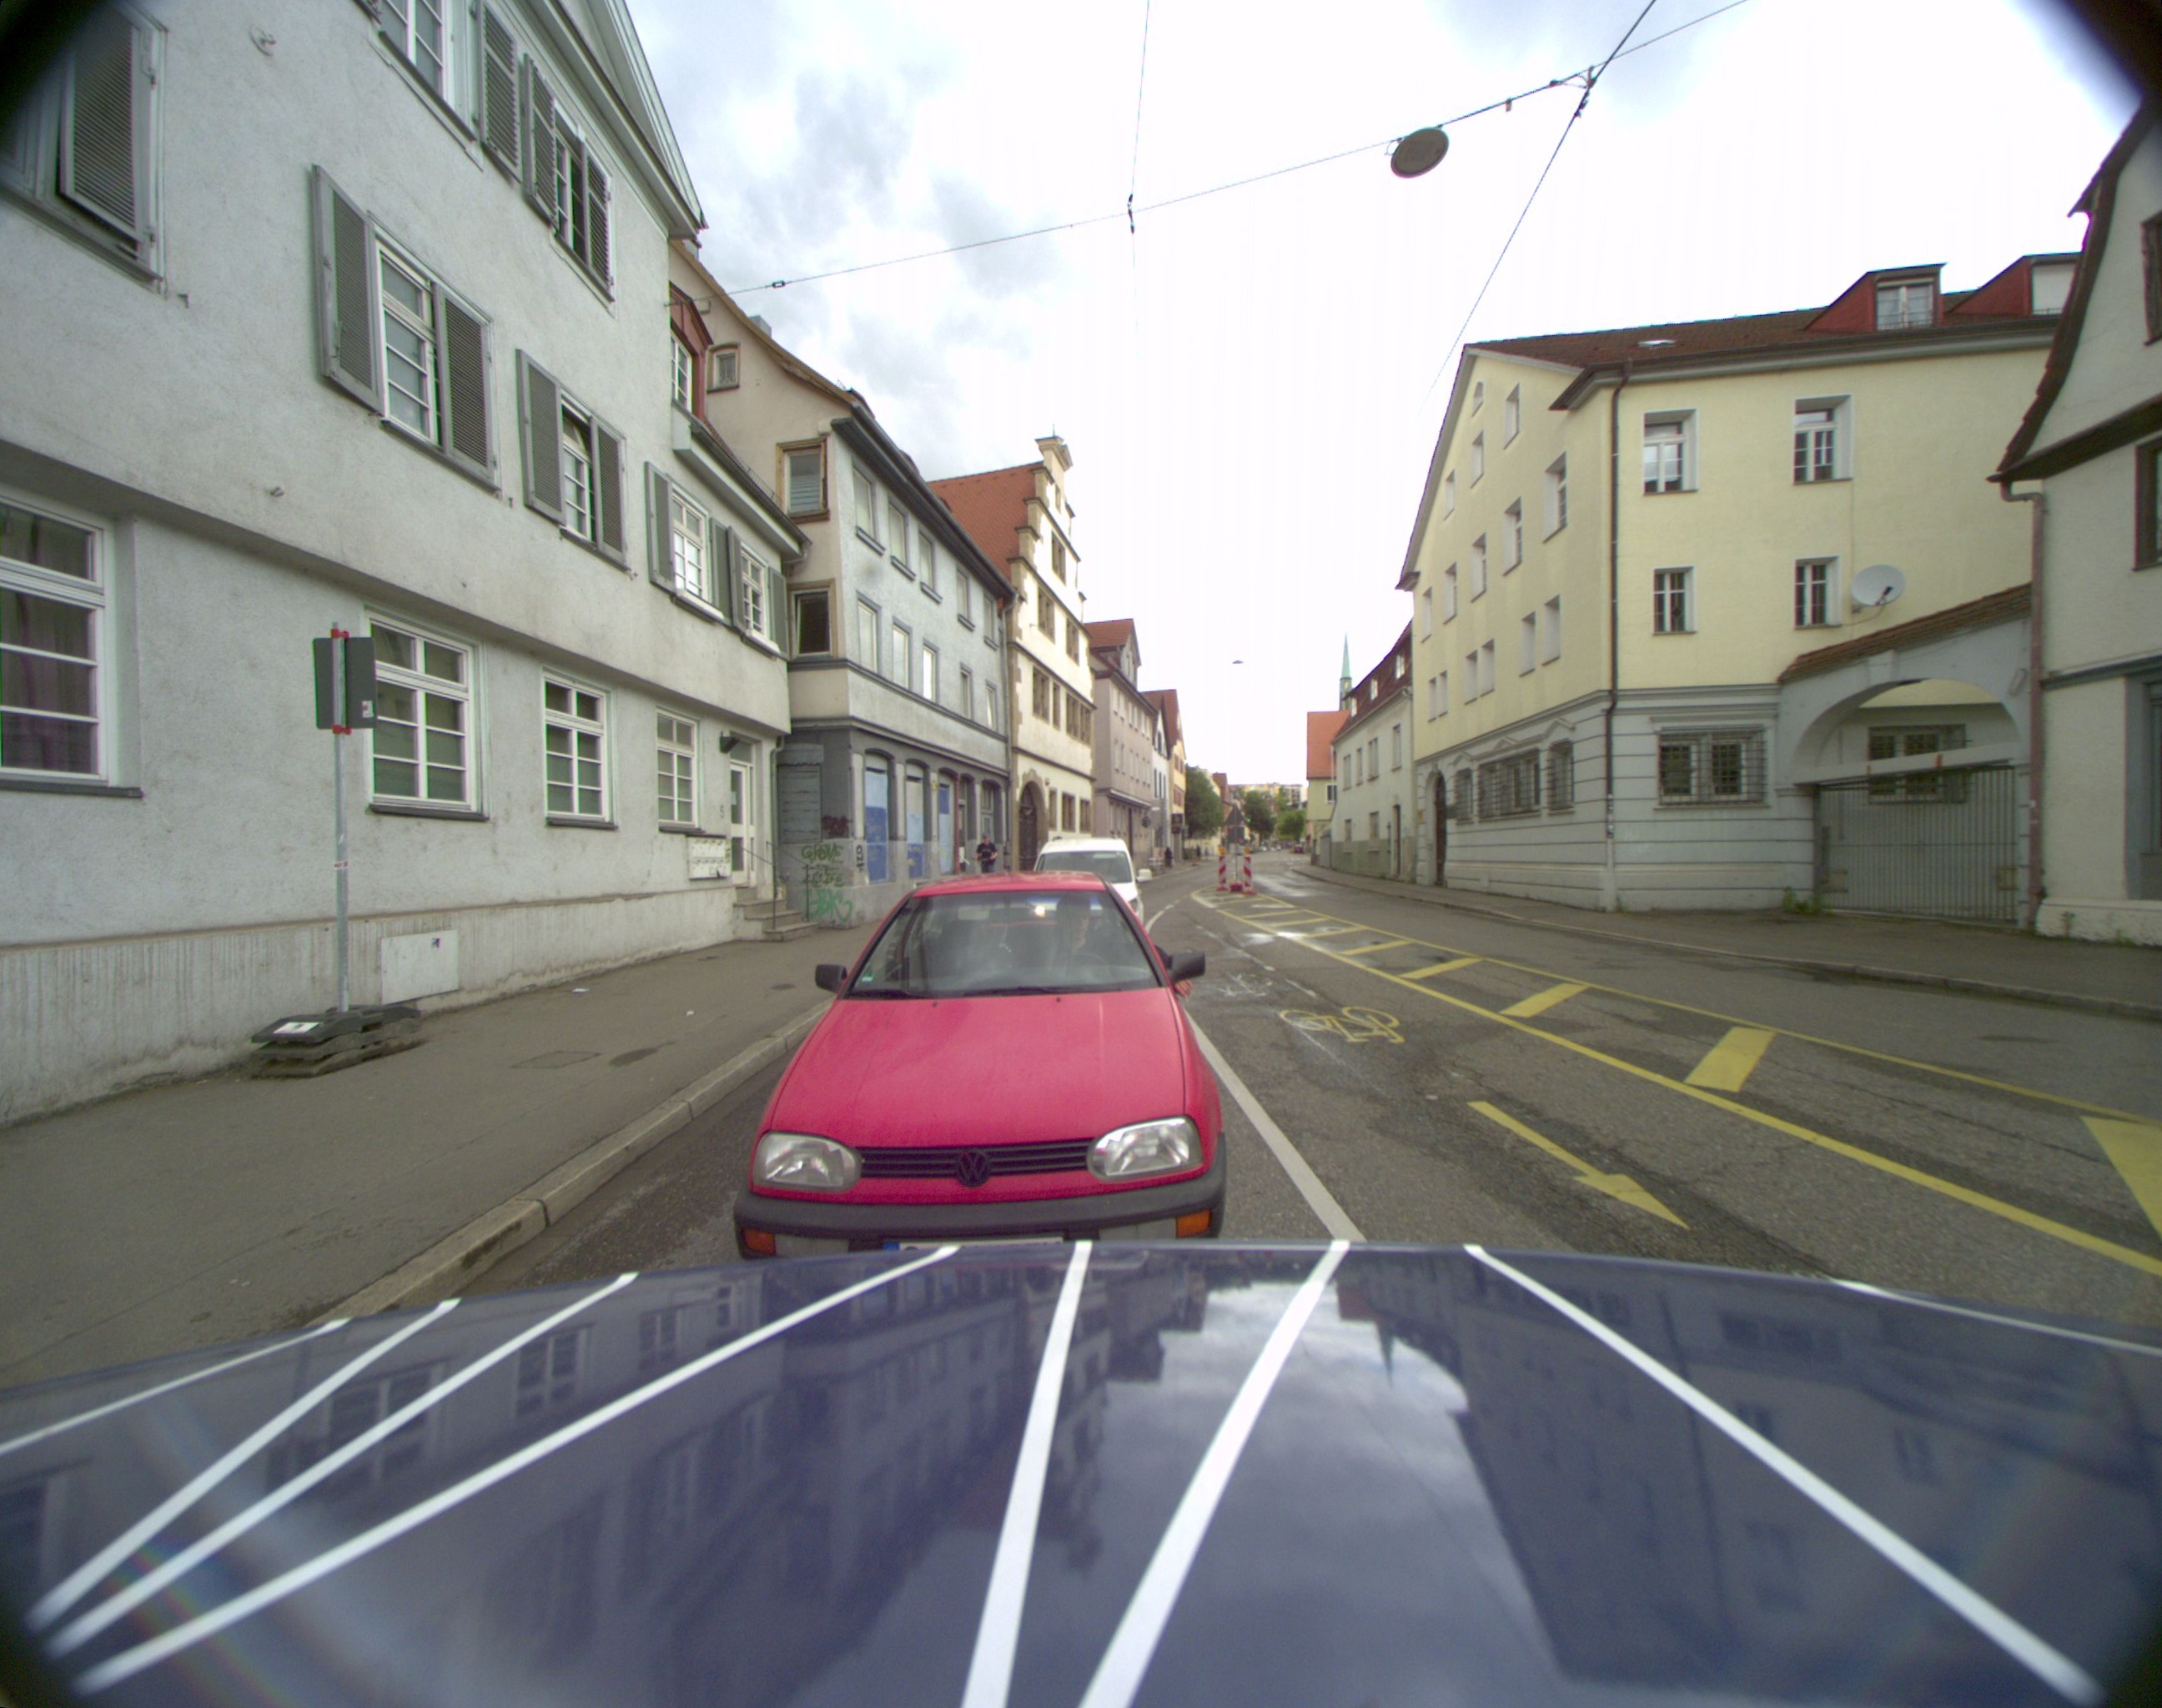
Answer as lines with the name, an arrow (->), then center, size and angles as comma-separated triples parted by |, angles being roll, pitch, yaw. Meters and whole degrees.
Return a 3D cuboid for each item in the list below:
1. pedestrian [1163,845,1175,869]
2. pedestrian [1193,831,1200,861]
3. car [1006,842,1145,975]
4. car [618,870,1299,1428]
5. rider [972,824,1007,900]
pedestrian -> 6.015, 0.185, 52.161 | 0.725, 1.604, 0.649 | -1, 0, 13
pedestrian -> 9.656, -0.637, 63.708 | 0.495, 2.513, 0.746 | -1, 1, 12
car -> 0.019, 0.694, 12.164 | 1.814, 1.695, 4.256 | -1, 1, 2
car -> -0.296, 0.836, 4.037 | 1.792, 1.417, 4.000 | -2, -1, 1
rider -> -2.243, 0.190, 18.685 | 0.719, 1.837, 0.797 | -1, 1, 1
